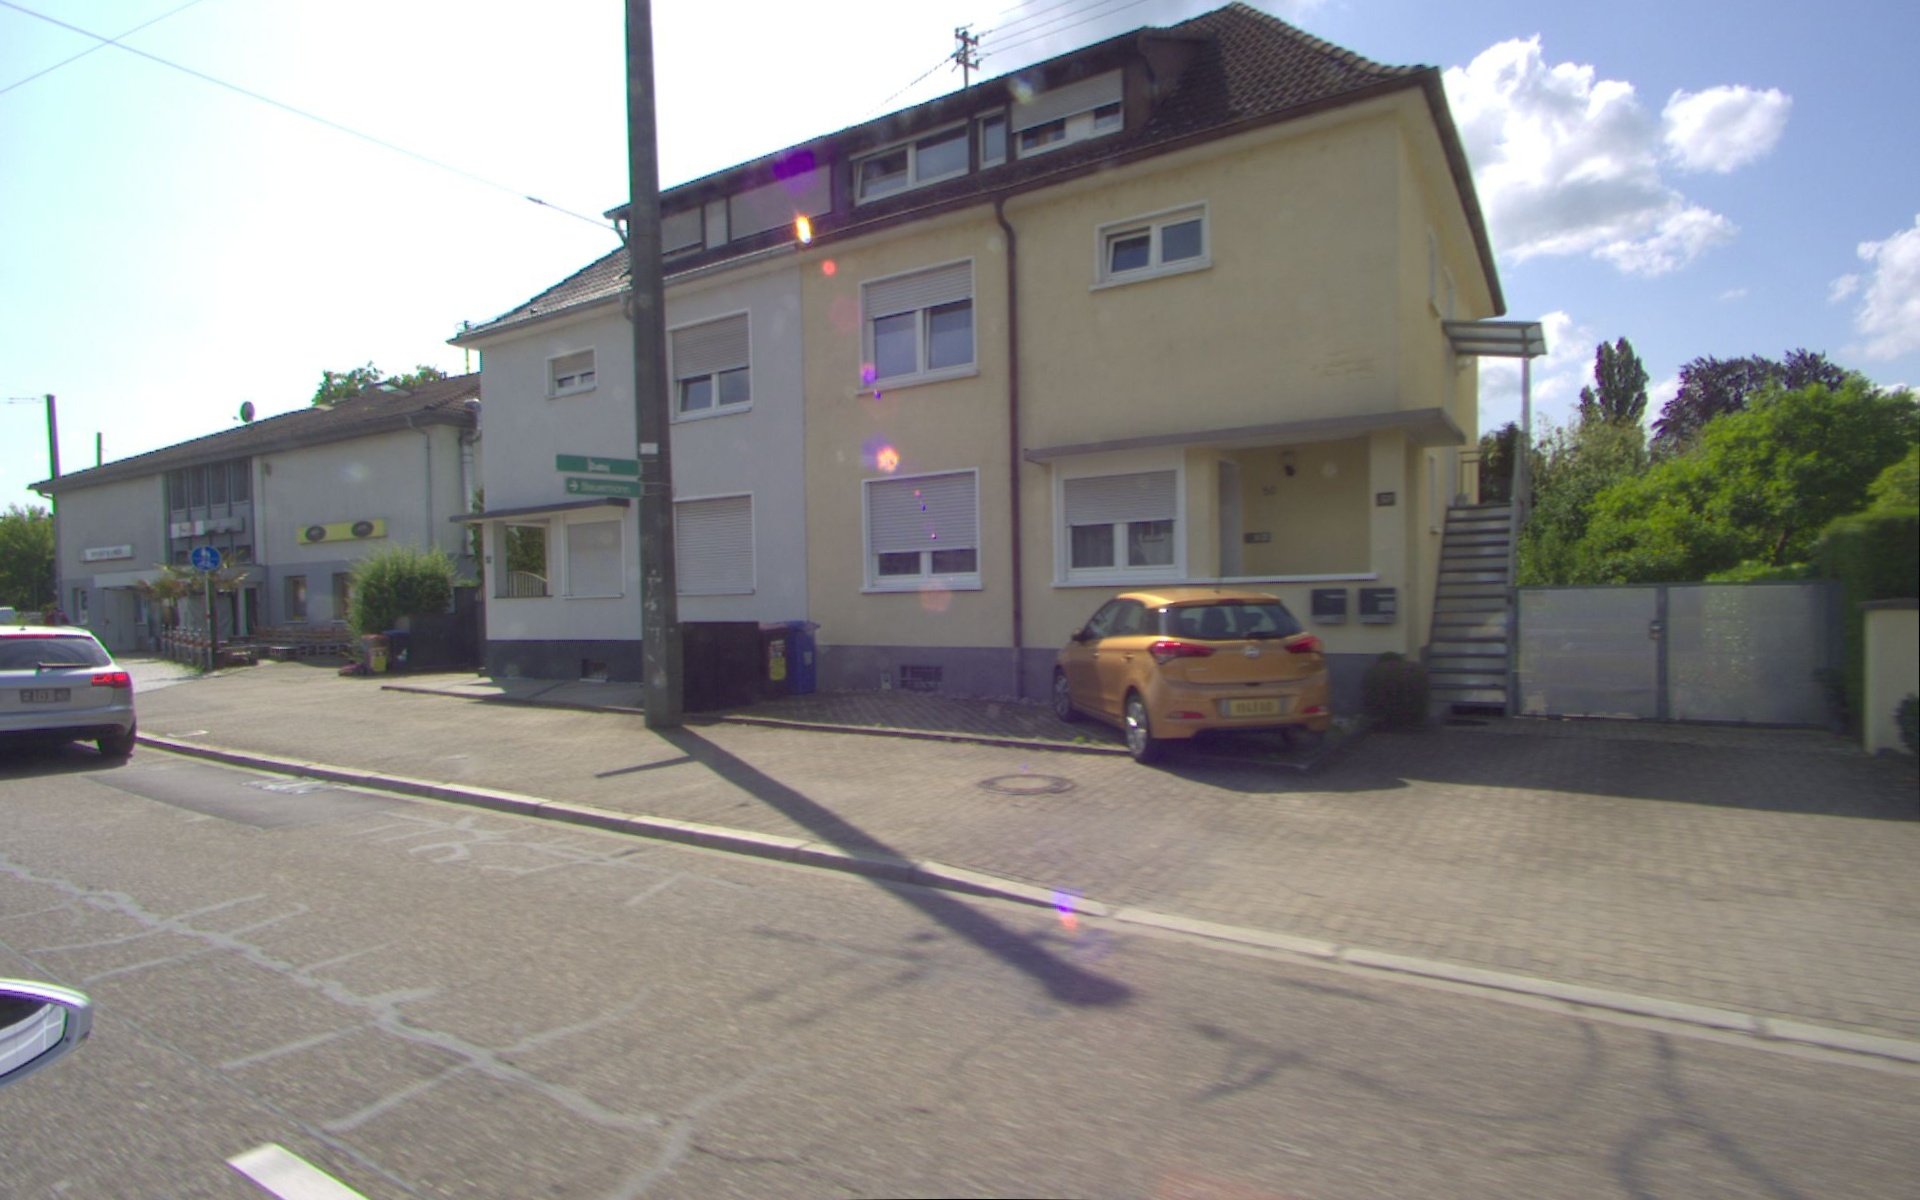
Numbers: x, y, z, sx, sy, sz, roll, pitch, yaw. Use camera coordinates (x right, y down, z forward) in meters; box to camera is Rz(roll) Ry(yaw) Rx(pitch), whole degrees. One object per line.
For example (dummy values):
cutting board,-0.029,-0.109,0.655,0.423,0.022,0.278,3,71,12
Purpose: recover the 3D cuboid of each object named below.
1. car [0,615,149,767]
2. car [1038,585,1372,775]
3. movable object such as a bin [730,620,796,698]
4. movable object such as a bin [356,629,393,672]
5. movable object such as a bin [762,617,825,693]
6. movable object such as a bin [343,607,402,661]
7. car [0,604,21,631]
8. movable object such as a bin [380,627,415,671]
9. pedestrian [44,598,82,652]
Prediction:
car,-11.194,0.938,11.569,4.478,1.512,1.848,-1,0,38
car,2.172,0.615,10.180,1.879,1.478,4.088,0,2,-8
movable object such as a bin,-2.781,0.818,14.150,0.675,1.061,0.637,0,0,31
movable object such as a bin,-12.618,1.084,21.574,0.537,0.907,0.444,0,1,27
movable object such as a bin,-2.450,0.796,14.772,0.650,1.069,0.644,0,1,31
movable object such as a bin,-15.667,0.885,26.711,0.874,1.351,1.079,2,3,33
car,-70.086,1.255,71.112,1.974,1.962,4.661,0,0,36
movable object such as a bin,-12.357,1.072,22.004,0.541,0.947,0.440,0,1,27
pedestrian,-31.116,0.848,34.736,0.693,1.808,0.719,0,4,34
